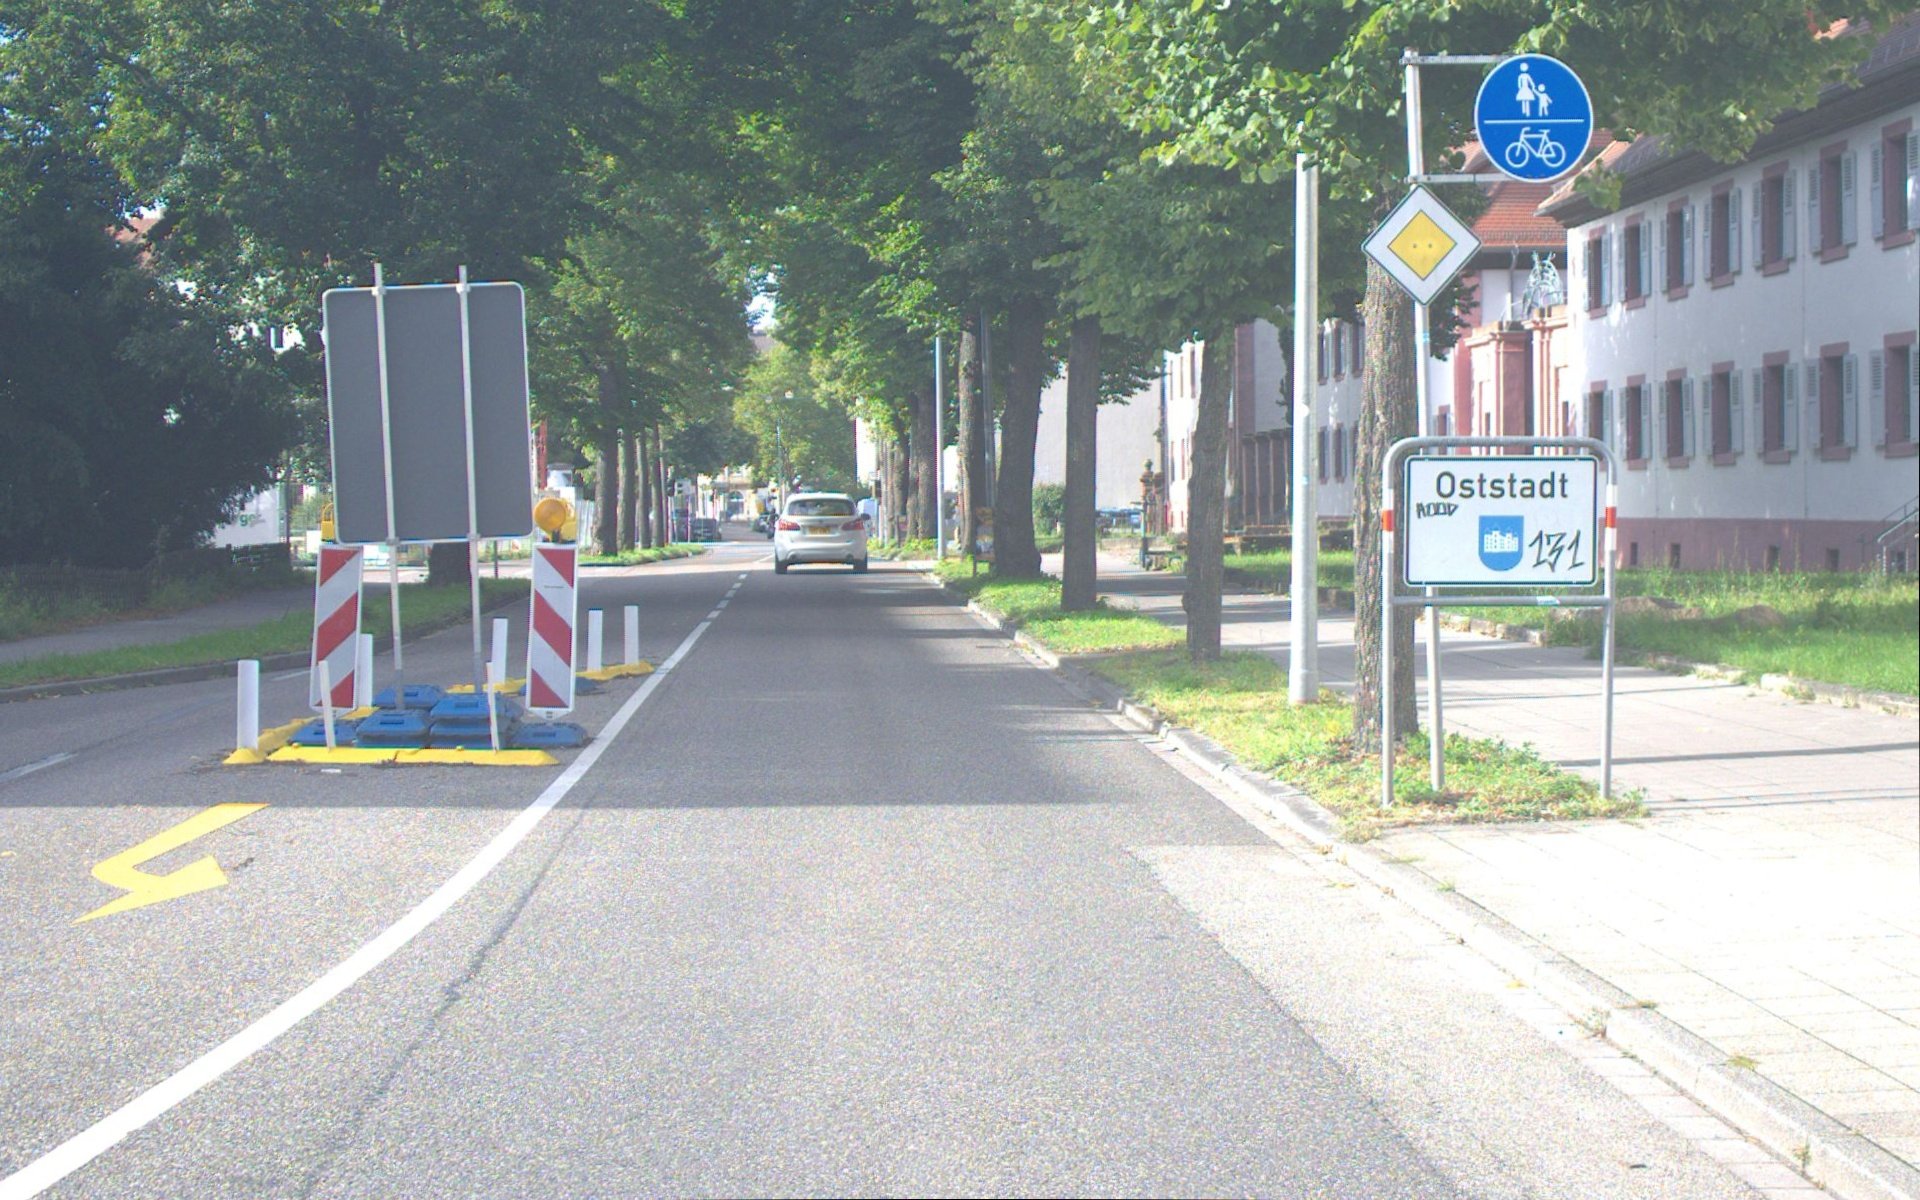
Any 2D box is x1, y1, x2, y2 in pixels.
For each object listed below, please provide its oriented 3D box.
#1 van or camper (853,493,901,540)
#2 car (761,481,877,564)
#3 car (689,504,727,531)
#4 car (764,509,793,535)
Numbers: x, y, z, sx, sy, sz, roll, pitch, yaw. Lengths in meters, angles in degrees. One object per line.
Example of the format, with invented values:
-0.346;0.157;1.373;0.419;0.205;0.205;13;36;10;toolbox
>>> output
-4.740;-4.768;196.271;2.209;2.598;5.373;-1;2;-7;van or camper
-2.805;-1.512;67.463;1.993;1.549;4.275;0;1;-6;car
-15.559;-5.085;212.132;1.993;1.634;4.001;-1;2;-9;car
-12.712;-5.468;240.674;1.993;1.749;4.001;0;1;-2;car
